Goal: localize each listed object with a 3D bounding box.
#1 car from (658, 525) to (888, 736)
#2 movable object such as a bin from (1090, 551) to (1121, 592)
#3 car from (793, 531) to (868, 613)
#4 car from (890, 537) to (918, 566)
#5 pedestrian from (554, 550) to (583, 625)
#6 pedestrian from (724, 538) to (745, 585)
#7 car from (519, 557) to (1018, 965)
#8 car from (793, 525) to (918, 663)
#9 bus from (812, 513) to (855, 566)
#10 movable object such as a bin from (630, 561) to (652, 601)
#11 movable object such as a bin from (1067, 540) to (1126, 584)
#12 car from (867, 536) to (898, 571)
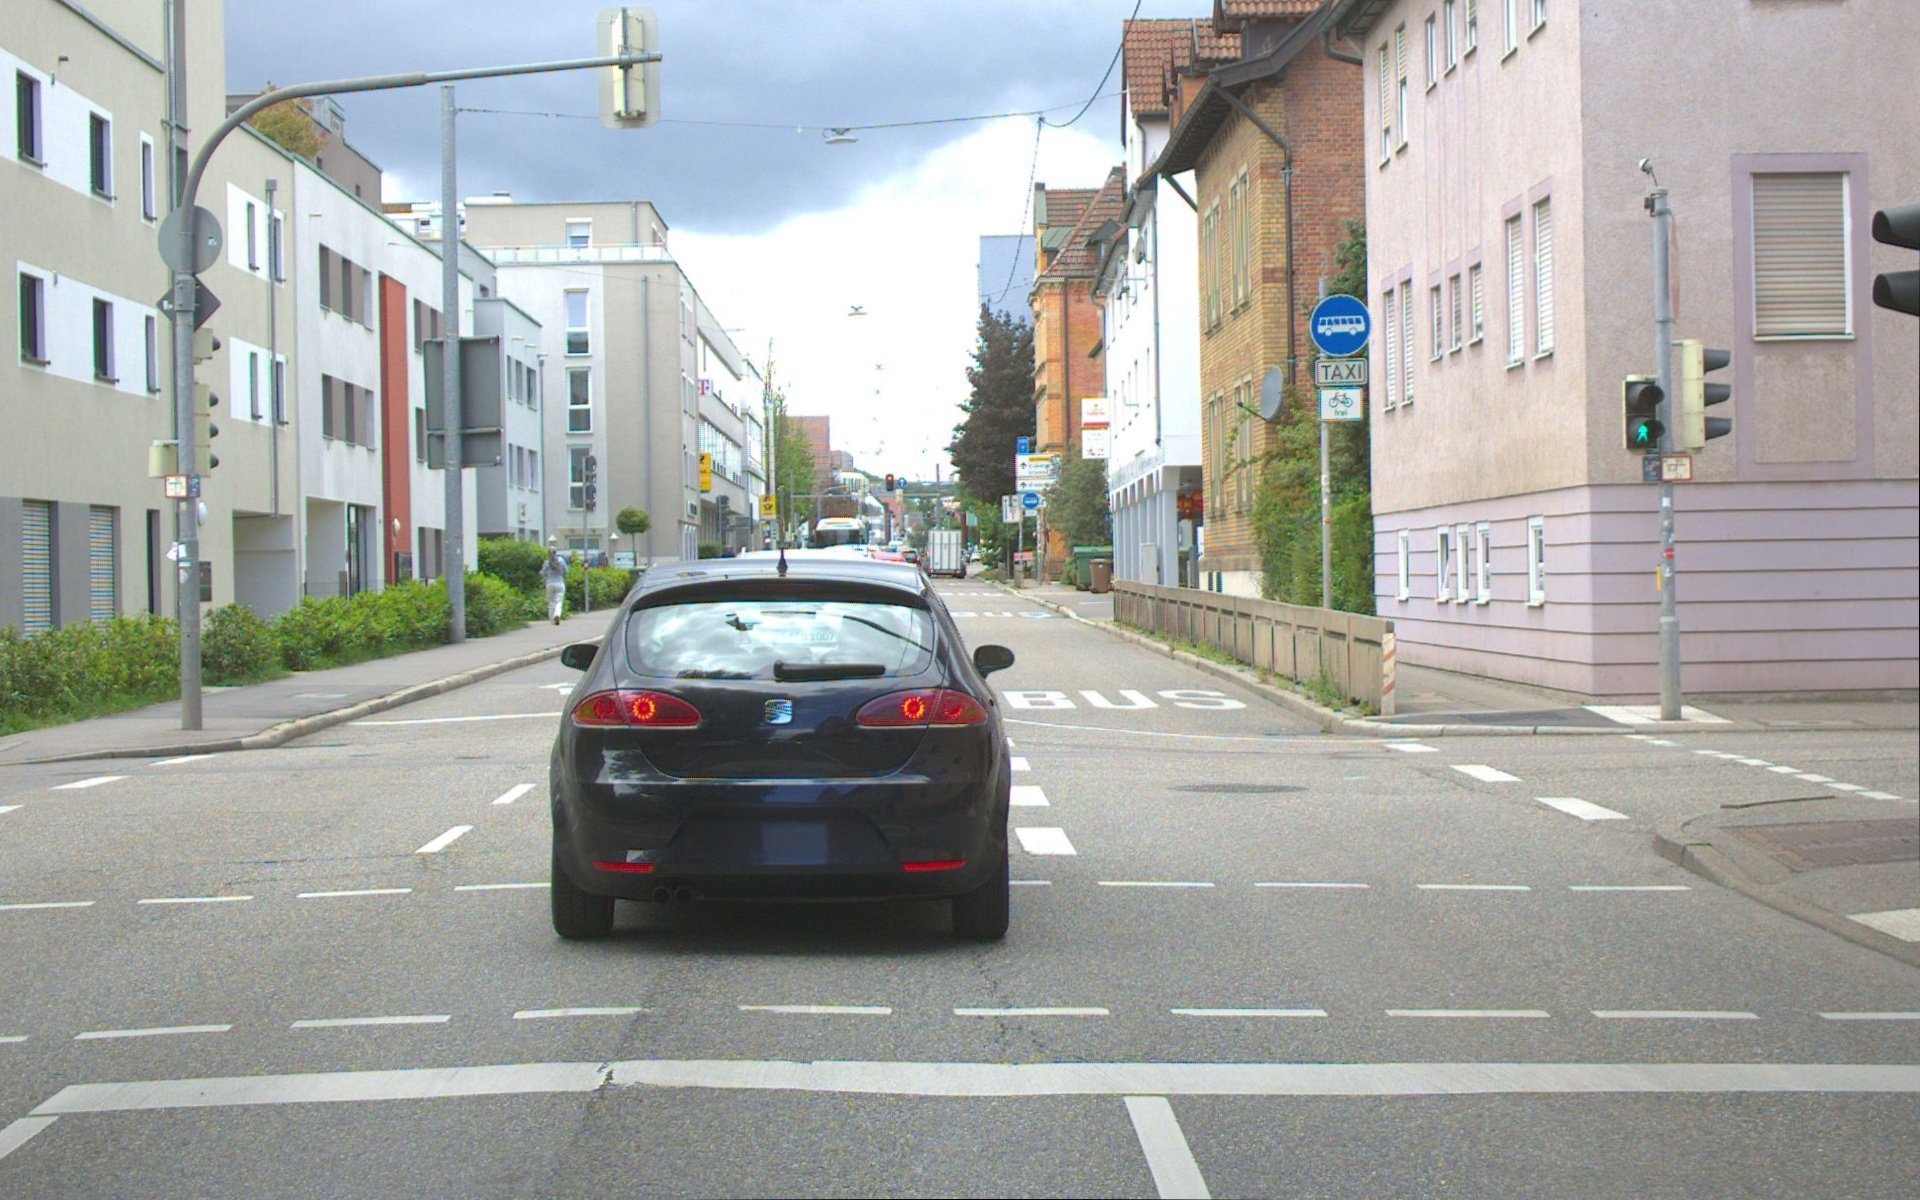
[{"bbox_3d":[-1.546,0.229,29.693,1.842,1.687,4.000,0,0,-1],"label":"car"},{"bbox_3d":[4.553,-0.900,107.549,0.928,1.279,0.883,0,0,0],"label":"movable object such as a bin"},{"bbox_3d":[-2.723,-0.598,73.028,1.531,1.687,3.693,0,0,-1],"label":"car"},{"bbox_3d":[-3.280,-2.846,200.741,1.531,1.687,3.693,-1,1,-1],"label":"car"},{"bbox_3d":[-8.081,-0.263,70.995,0.526,1.542,0.541,0,0,-1],"label":"pedestrian"},{"bbox_3d":[-8.325,-1.421,126.945,0.730,1.723,0.859,0,0,-1],"label":"pedestrian"},{"bbox_3d":[-0.708,0.553,14.161,1.759,1.437,4.000,0,0,-1],"label":"car"},{"bbox_3d":[-1.324,-0.091,44.081,1.531,1.687,3.693,0,0,-1],"label":"car"},{"bbox_3d":[-7.148,-3.382,194.677,2.210,2.876,8.920,0,0,-1],"label":"bus"},{"bbox_3d":[-8.785,-0.526,94.691,0.549,1.075,0.612,0,0,0],"label":"movable object such as a bin"},{"bbox_3d":[4.441,-1.233,111.930,1.818,1.432,1.993,0,0,0],"label":"movable object such as a bin"},{"bbox_3d":[-3.912,-2.352,173.411,1.531,1.687,3.693,-1,1,-1],"label":"car"}]
